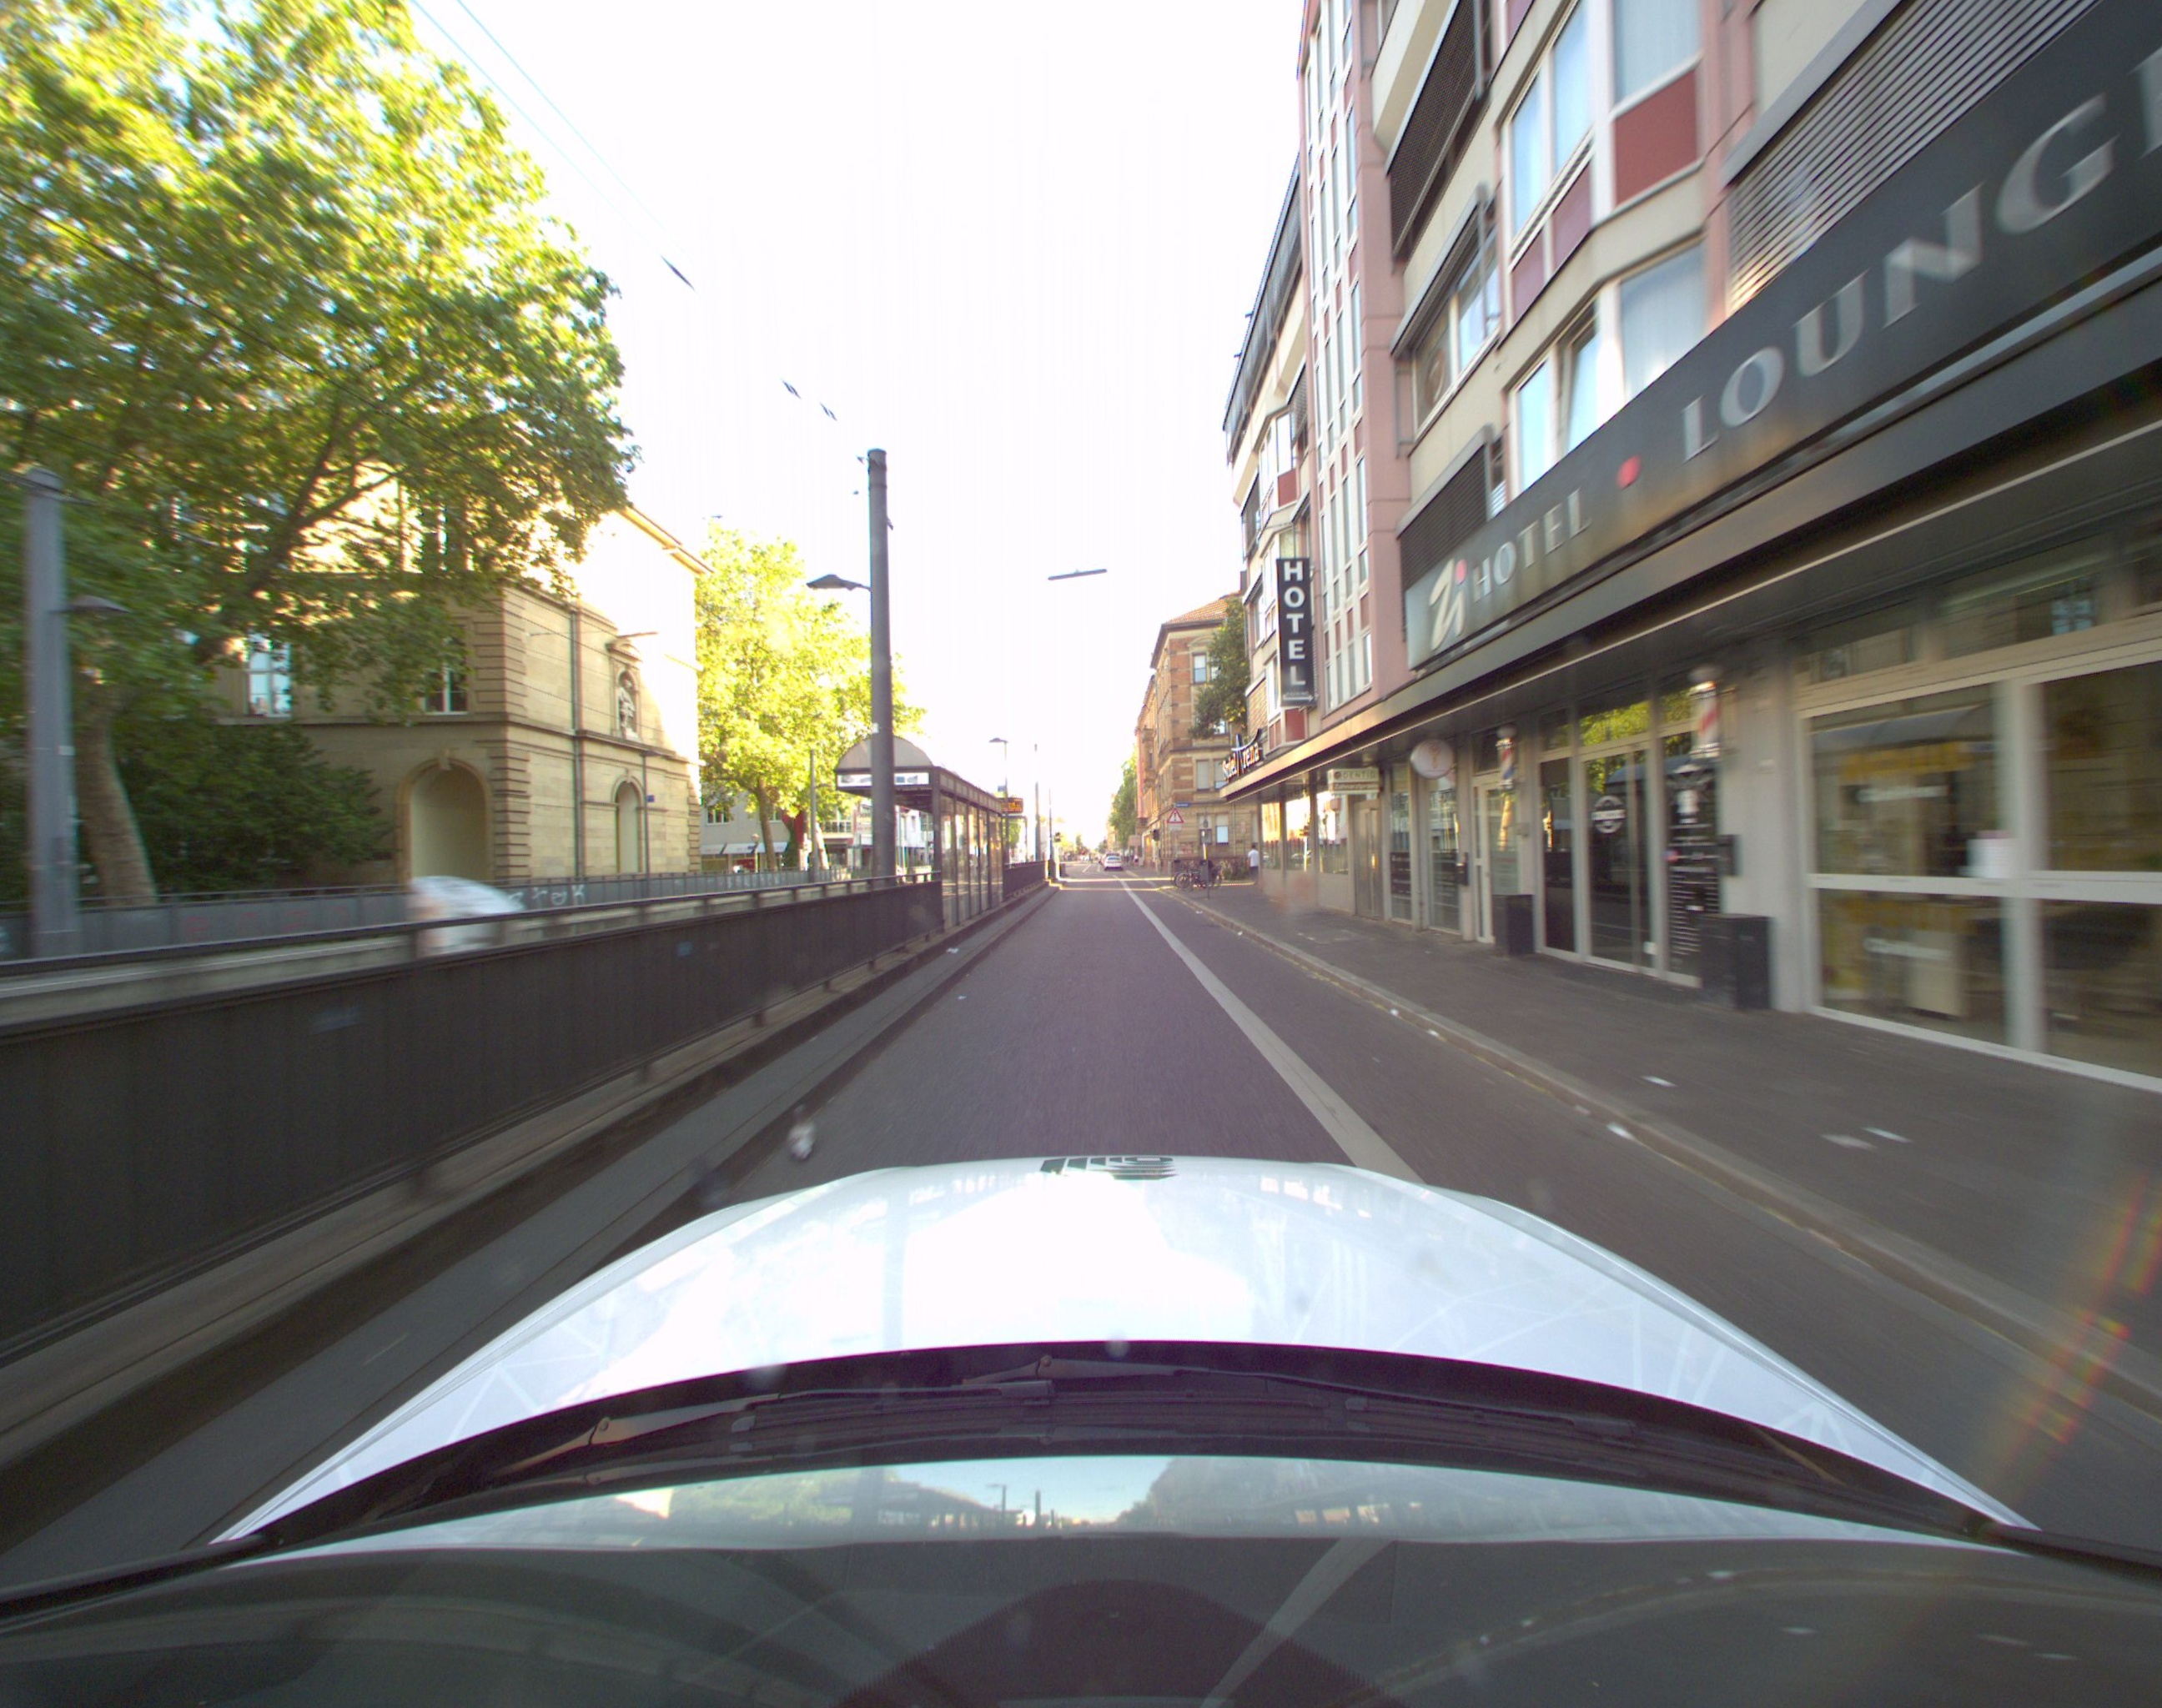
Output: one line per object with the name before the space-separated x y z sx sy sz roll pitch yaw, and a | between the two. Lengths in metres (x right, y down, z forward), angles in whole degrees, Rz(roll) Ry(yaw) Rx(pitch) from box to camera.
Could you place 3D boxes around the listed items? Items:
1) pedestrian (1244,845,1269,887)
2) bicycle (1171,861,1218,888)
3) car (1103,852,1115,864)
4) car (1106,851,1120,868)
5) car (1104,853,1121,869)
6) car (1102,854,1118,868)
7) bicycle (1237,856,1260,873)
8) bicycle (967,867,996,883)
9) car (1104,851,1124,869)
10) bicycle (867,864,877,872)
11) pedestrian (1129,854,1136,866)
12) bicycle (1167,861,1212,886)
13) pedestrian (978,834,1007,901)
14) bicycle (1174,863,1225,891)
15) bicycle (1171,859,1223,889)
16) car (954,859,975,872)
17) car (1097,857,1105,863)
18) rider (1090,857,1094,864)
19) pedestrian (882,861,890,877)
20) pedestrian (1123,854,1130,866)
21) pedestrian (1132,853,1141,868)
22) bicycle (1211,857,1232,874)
pedestrian | 7.229 0.494 33.573 0.780 1.665 1.034 -2 1 2
bicycle | 4.707 0.831 33.780 1.829 1.054 0.717 -1 0 -3
car | 4.774 0.663 140.657 1.963 2.014 4.560 -3 0 2
car | 4.170 0.740 105.621 1.698 2.120 3.710 -1 -1 4
car | 3.708 0.782 94.896 1.947 1.869 4.991 0 0 2
car | 3.944 0.948 110.971 1.943 1.788 5.180 0 -1 0
bicycle | 10.443 0.648 50.790 0.497 1.024 1.895 -1 0 -19
bicycle | -6.896 1.433 56.292 1.886 1.078 0.584 1 -1 2
car | 3.341 0.611 82.891 1.959 1.771 4.877 0 -1 2
bicycle | -18.117 1.226 70.563 0.455 0.658 1.807 1 0 -4
pedestrian | 7.119 0.796 112.896 0.773 1.567 0.914 -5 -1 2
bicycle | 4.718 0.840 35.455 1.829 1.054 0.710 -1 0 -3
pedestrian | -2.314 0.353 21.336 0.620 1.712 0.850 -2 0 0
bicycle | 4.710 0.892 32.393 1.908 1.047 0.680 -1 0 -3
bicycle | 4.702 0.807 33.051 1.965 1.104 0.614 -2 0 -3
car | -15.203 1.518 106.757 2.084 1.713 4.818 0 -1 0
car | 5.454 1.608 218.778 2.058 1.389 4.225 1 0 1
rider | 2.420 1.415 184.171 0.880 1.481 0.713 0 -1 2
pedestrian | -20.340 1.551 84.908 0.741 1.712 0.615 -2 0 -3
pedestrian | 6.338 0.784 112.894 0.773 1.567 0.914 -5 -1 2
pedestrian | 6.024 0.733 88.525 0.772 1.567 0.914 -5 -1 4
bicycle | 8.756 0.740 50.721 0.452 1.024 1.896 -1 0 -17
